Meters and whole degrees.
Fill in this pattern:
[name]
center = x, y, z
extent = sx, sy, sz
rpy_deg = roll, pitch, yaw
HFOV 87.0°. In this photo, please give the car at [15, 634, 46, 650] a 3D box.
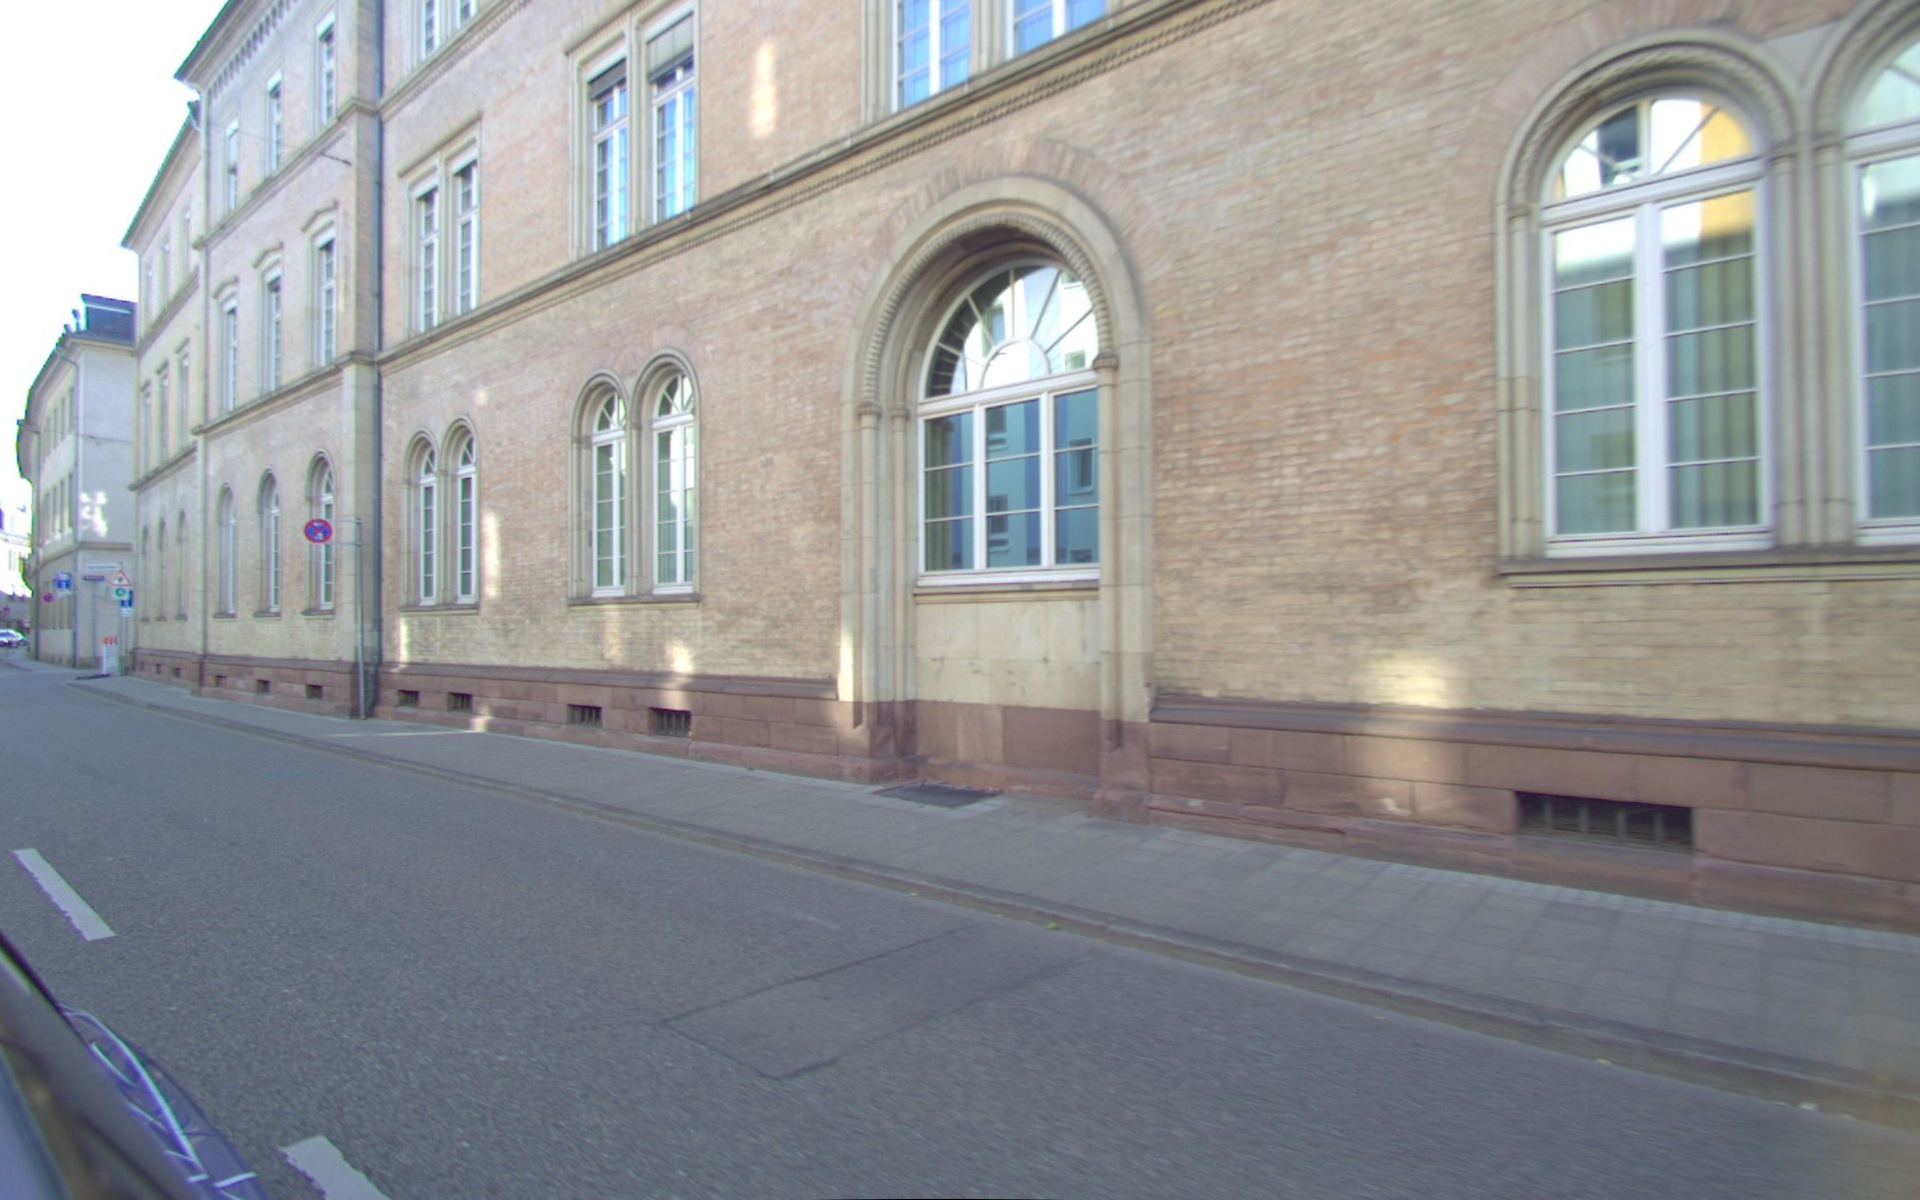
[car]
center = -109.653, 4.915, 119.442
extent = 1.747, 1.595, 3.868
rpy_deg = -5, 1, -29
